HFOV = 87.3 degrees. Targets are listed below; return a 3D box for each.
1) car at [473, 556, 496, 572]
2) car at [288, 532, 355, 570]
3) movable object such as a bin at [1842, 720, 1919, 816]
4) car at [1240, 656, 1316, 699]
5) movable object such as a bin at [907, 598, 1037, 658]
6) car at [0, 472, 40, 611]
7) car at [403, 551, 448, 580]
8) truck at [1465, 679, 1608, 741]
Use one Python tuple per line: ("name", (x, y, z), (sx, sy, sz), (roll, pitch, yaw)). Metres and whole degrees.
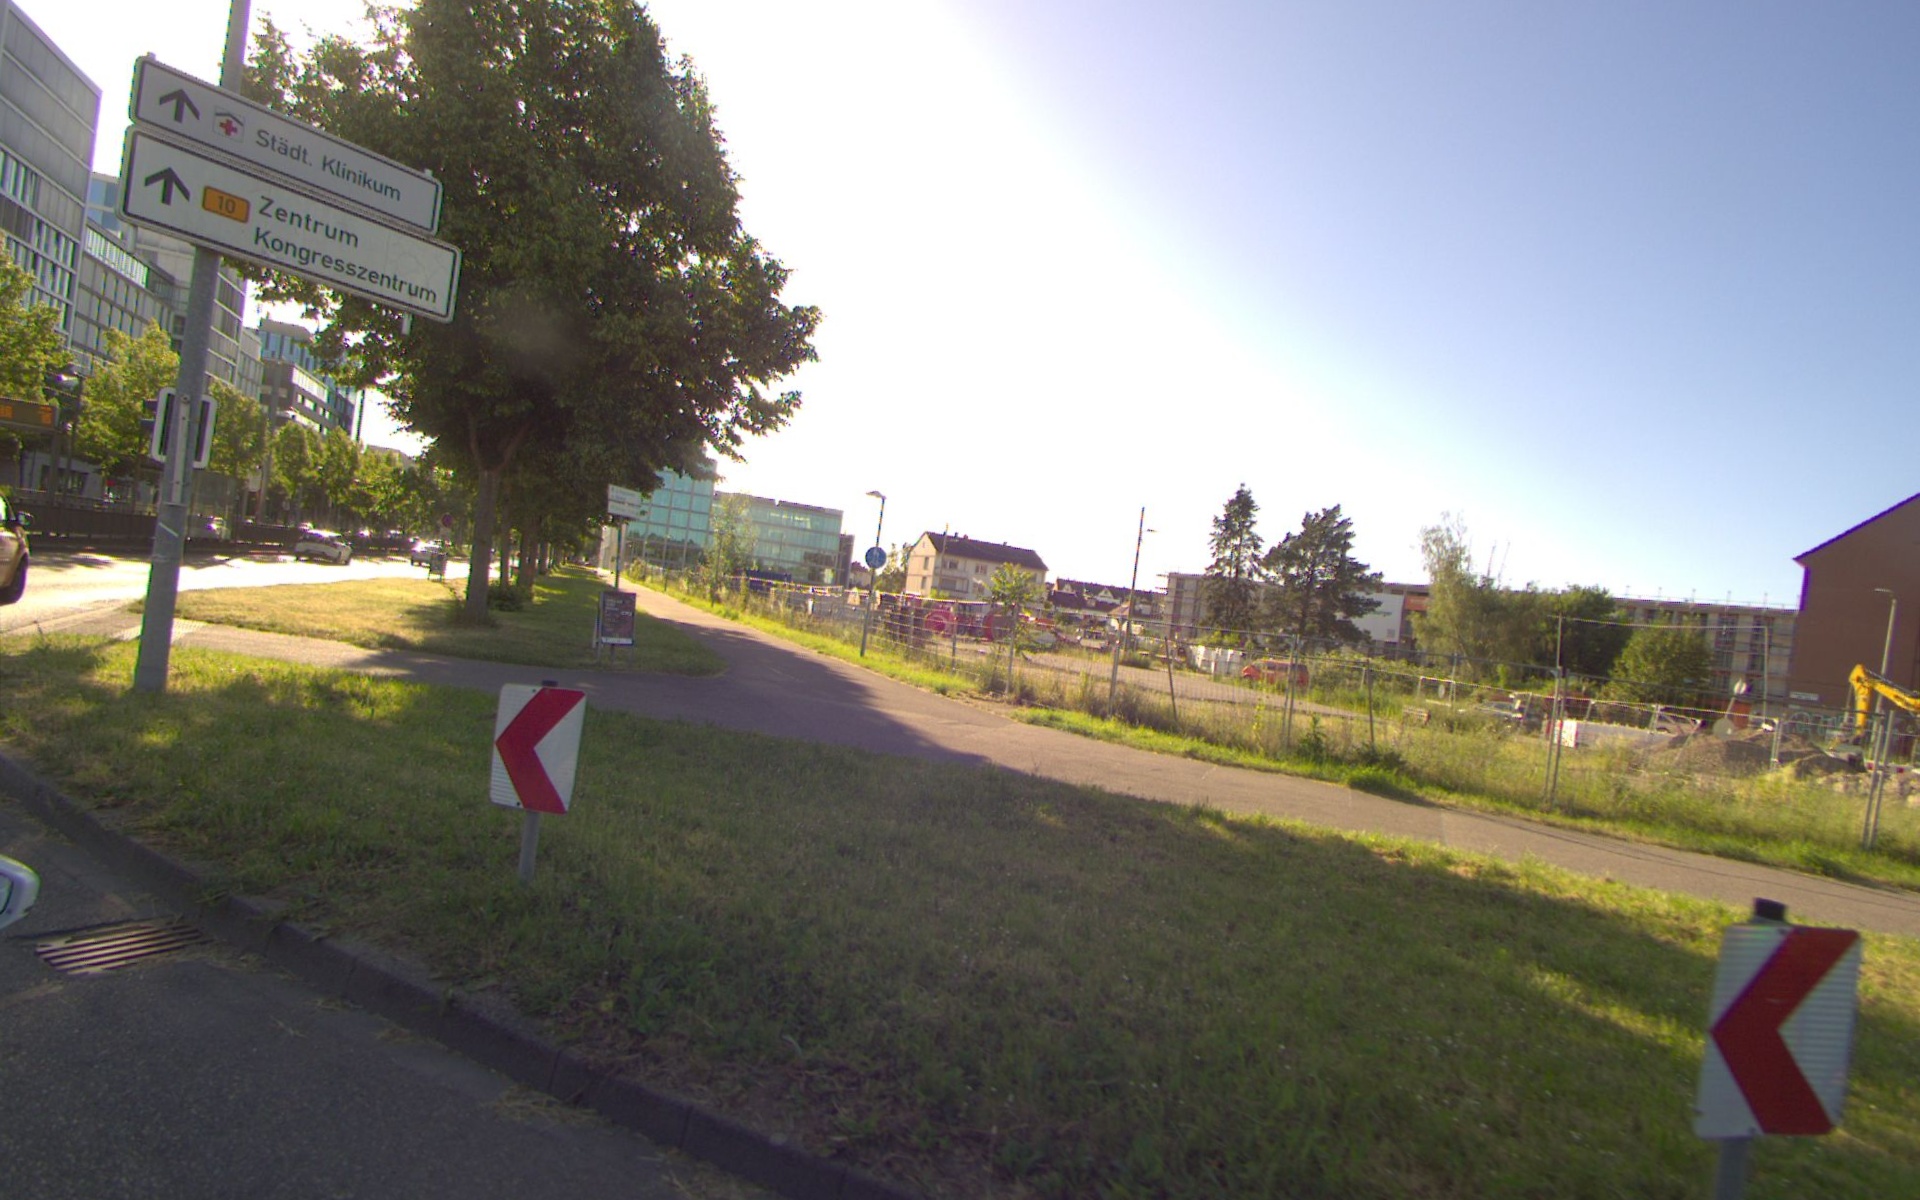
("car", (-56.364, -4.339, 119.346), (1.973, 1.594, 4.385), (8, 0, -22))
("car", (-30.295, -2.297, 47.863), (1.785, 1.478, 3.791), (9, -1, -21))
("movable object such as a bin", (31.402, 5.597, 32.312), (2.382, 2.805, 4.003), (10, -1, 4))
("car", (20.611, 5.023, 65.348), (1.977, 2.036, 4.471), (10, -1, -25))
("movable object such as a bin", (0.775, 1.839, 66.320), (7.821, 2.816, 2.931), (9, 0, -19))
("car", (-13.236, -0.851, 12.559), (1.791, 1.834, 3.777), (8, -2, -33))
("car", (-35.463, -2.313, 66.900), (1.973, 1.594, 4.386), (8, 0, -21))
("truck", (29.443, 5.572, 51.723), (2.141, 2.036, 6.410), (10, -1, -18))
